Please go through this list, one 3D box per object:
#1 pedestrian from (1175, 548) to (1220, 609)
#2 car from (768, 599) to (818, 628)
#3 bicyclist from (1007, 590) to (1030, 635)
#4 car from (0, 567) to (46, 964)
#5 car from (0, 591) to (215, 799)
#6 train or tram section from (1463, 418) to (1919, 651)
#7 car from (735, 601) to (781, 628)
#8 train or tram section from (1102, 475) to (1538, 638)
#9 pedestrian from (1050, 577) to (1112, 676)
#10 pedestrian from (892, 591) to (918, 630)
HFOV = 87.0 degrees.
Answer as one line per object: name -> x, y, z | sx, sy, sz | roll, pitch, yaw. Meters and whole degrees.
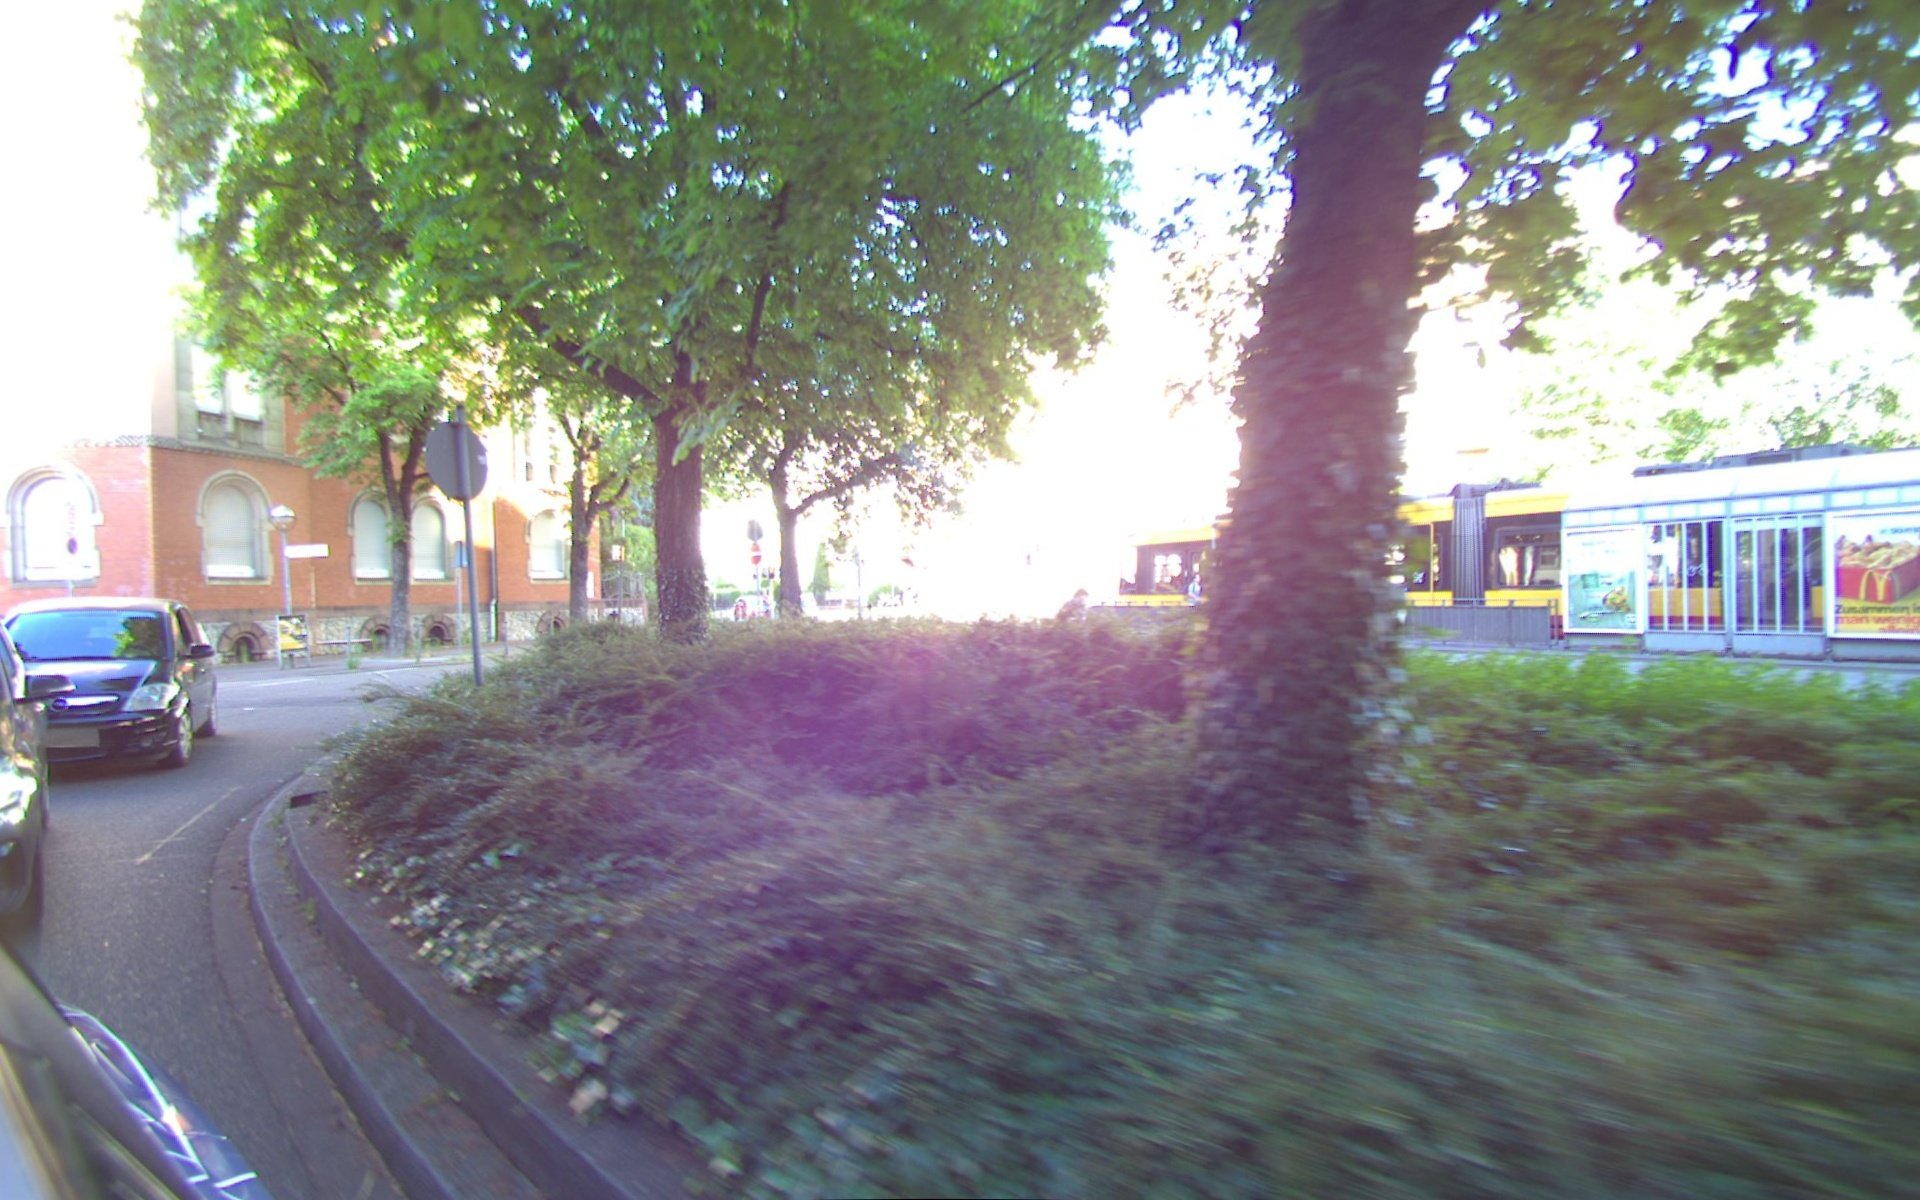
pedestrian -> 6.700, -0.603, 28.581 | 0.713, 1.647, 0.907 | -4, 2, -29
car -> -9.025, 0.704, 54.376 | 1.707, 1.428, 4.013 | -2, 0, -23
bicyclist -> 2.102, 0.449, 36.432 | 0.588, 1.585, 0.557 | -1, 0, -28
car -> -5.857, 0.699, 5.134 | 1.767, 1.590, 4.266 | -1, 0, -42
car -> -8.464, 0.784, 9.892 | 1.652, 1.640, 3.698 | -2, 1, -33
train or tram section -> 15.398, -1.041, 17.510 | 2.739, 3.614, 12.458 | -2, 1, -30
car -> -12.313, 0.869, 61.609 | 1.707, 1.427, 4.013 | -2, 2, -27
train or tram section -> 9.079, -0.965, 28.417 | 2.726, 3.584, 12.720 | -2, 1, -30
pedestrian -> 1.854, 0.391, 15.504 | 0.698, 1.454, 0.602 | -2, 1, -24
pedestrian -> -2.437, 0.467, 45.278 | 0.722, 1.647, 0.896 | -2, 2, 28
